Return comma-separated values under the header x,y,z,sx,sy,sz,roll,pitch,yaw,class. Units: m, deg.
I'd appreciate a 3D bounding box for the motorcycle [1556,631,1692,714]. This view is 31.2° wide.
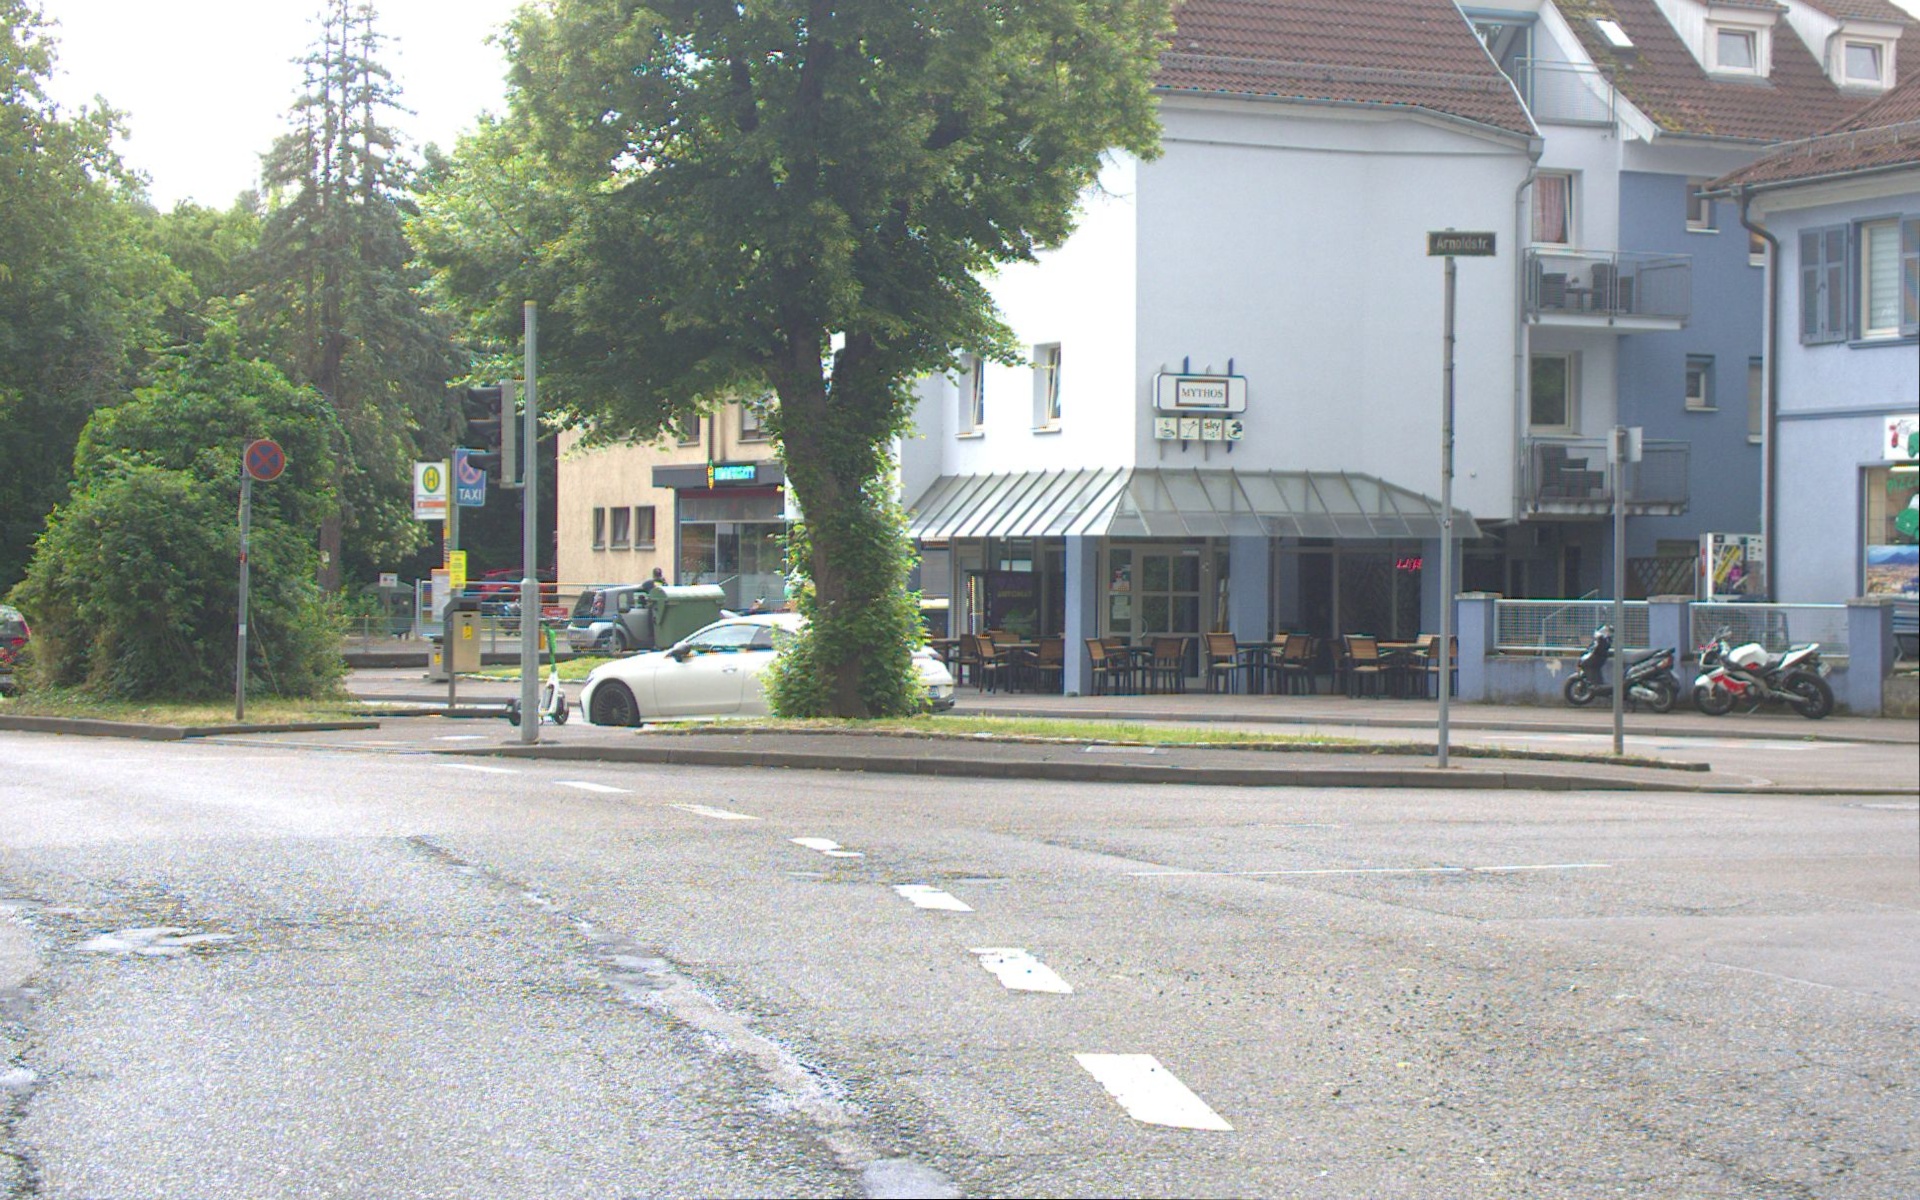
x,y,z,sx,sy,sz,roll,pitch,yaw,class
8.479,0.918,43.947,1.724,1.028,0.488,0,0,44,motorcycle

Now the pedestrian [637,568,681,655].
x,y,z,sx,sy,sz,roll,pitch,yaw,class
-6.055,0.227,69.121,0.687,1.723,0.611,0,0,-30,pedestrian

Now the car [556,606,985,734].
x,y,z,sx,sy,sz,roll,pitch,yaw,class
-2.235,0.773,39.829,4.782,1.382,1.996,0,0,36,car

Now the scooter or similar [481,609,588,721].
x,y,z,sx,sy,sz,roll,pitch,yaw,class
-4.571,0.709,36.984,0.412,1.163,1.360,1,-2,28,scooter or similar

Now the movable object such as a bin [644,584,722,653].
x,y,z,sx,sy,sz,roll,pitch,yaw,class
-5.494,0.364,68.160,1.216,1.340,0.995,0,0,-30,movable object such as a bin

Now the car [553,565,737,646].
x,y,z,sx,sy,sz,roll,pitch,yaw,class
-6.429,0.098,70.139,3.412,1.625,1.625,0,0,-23,car

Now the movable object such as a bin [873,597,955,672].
x,y,z,sx,sy,sz,roll,pitch,yaw,class
-0.873,0.643,64.651,1.214,1.390,1.161,0,0,-20,movable object such as a bin

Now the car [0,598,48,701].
x,y,z,sx,sy,sz,roll,pitch,yaw,class
-14.669,0.653,48.270,3.489,1.399,1.570,1,1,30,car

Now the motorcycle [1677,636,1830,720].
x,y,z,sx,sy,sz,roll,pitch,yaw,class
9.703,0.948,42.092,1.822,0.982,0.520,0,0,44,motorcycle
